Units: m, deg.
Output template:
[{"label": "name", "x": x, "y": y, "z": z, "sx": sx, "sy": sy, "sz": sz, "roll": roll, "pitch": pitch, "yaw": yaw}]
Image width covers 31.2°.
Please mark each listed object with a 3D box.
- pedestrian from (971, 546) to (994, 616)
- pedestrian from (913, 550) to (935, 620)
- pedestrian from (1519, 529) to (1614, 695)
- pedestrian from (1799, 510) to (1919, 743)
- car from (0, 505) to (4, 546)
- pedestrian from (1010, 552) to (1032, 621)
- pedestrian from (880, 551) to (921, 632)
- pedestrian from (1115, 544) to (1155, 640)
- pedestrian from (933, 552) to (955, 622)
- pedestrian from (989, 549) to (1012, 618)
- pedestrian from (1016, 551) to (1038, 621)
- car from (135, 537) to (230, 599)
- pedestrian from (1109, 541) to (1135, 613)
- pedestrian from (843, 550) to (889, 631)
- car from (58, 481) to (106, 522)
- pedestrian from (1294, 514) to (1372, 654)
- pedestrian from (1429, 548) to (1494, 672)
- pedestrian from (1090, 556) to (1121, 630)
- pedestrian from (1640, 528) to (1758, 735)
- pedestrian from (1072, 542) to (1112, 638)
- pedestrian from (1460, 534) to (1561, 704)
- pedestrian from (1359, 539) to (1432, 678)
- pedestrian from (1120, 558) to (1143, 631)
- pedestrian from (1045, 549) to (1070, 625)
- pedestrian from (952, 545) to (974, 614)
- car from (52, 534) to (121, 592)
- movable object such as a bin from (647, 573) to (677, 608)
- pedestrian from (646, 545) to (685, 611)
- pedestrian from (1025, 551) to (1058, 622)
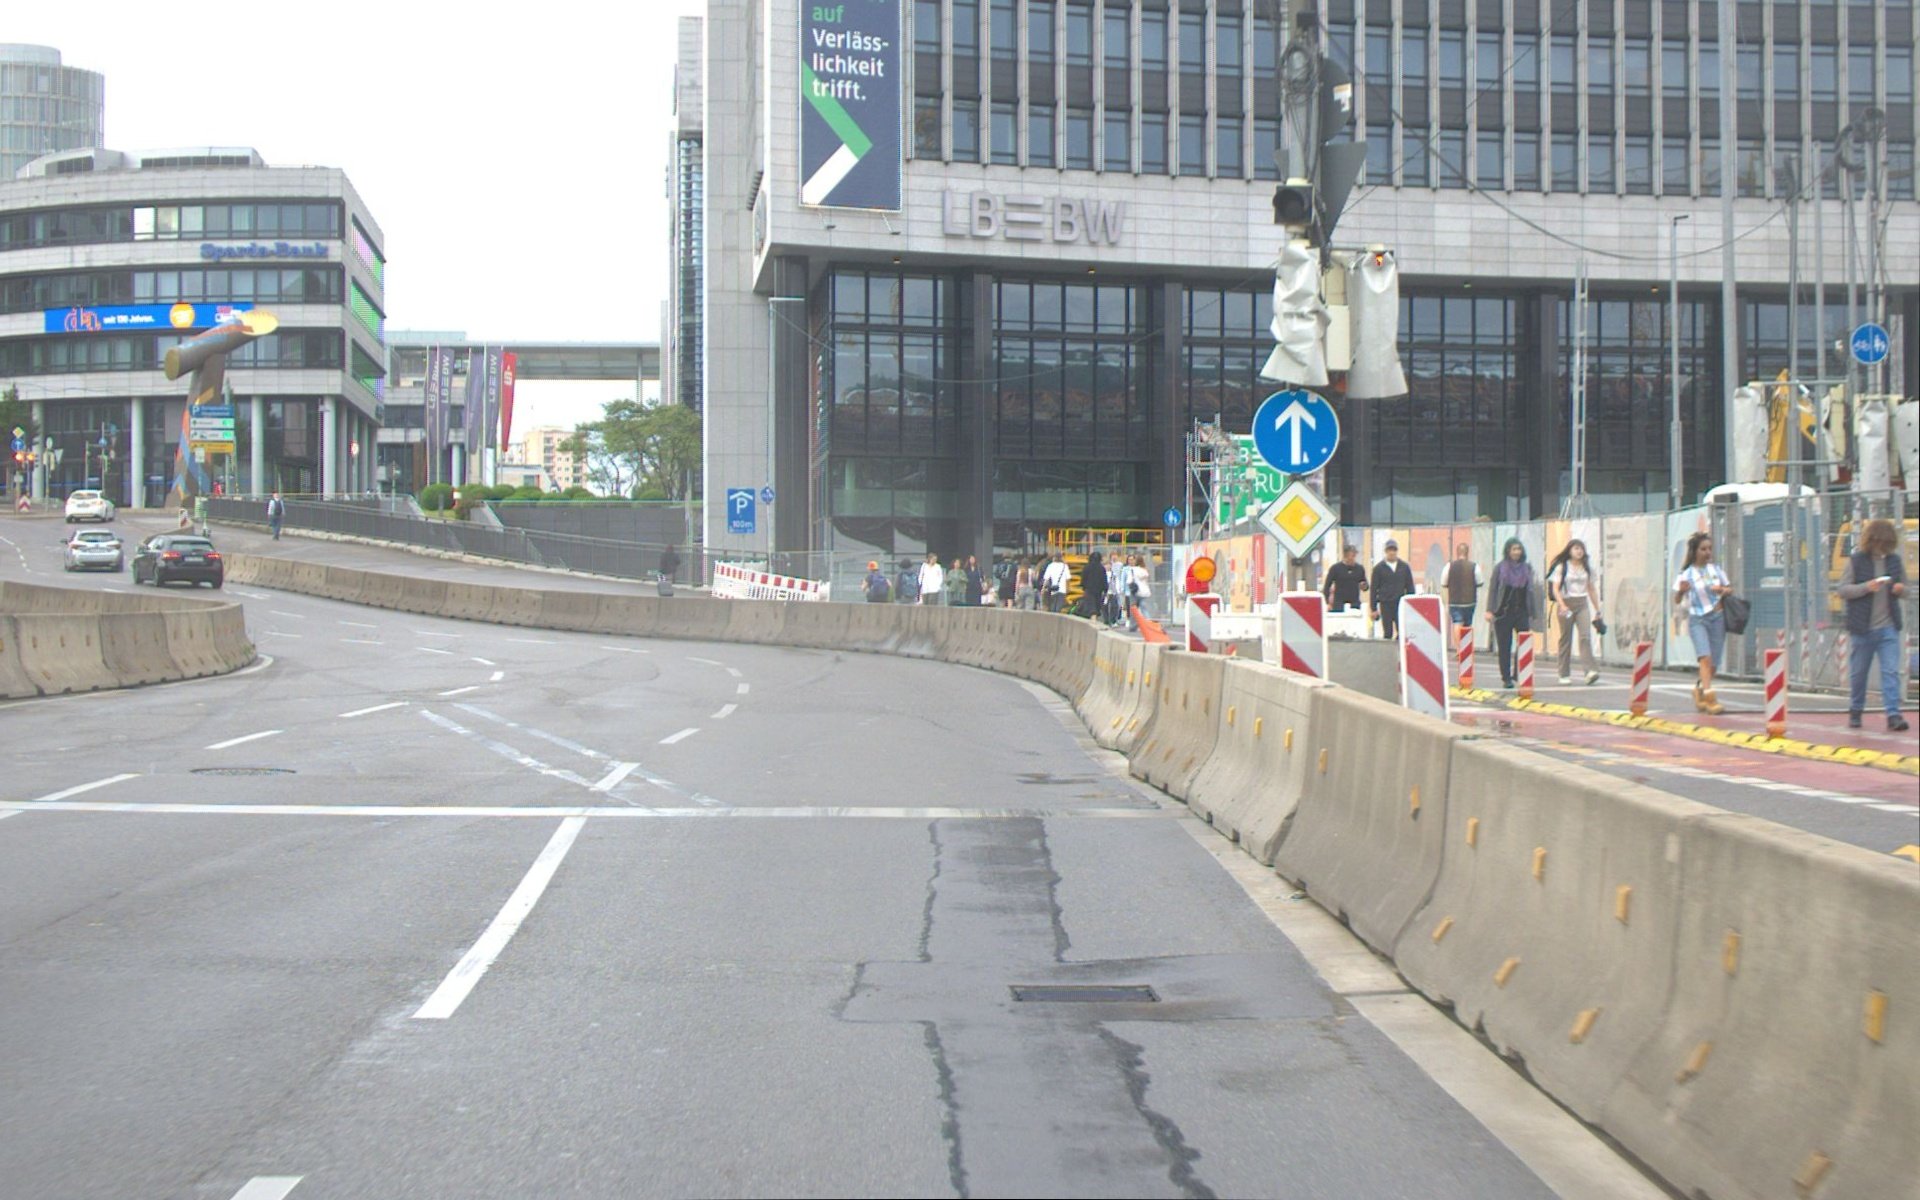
[{"label": "pedestrian", "x": 0.554, "y": -0.475, "z": 84.731, "sx": 0.448, "sy": 1.699, "sz": 0.647, "roll": 1, "pitch": 1, "yaw": -7}, {"label": "pedestrian", "x": -0.891, "y": -0.368, "z": 84.512, "sx": 0.448, "sy": 1.699, "sz": 0.647, "roll": 1, "pitch": 1, "yaw": -7}, {"label": "pedestrian", "x": 6.906, "y": 0.135, "z": 39.176, "sx": 0.779, "sy": 1.855, "sz": 1.058, "roll": 1, "pitch": 0, "yaw": -6}, {"label": "pedestrian", "x": 7.314, "y": 0.210, "z": 27.982, "sx": 0.689, "sy": 1.855, "sz": 0.811, "roll": 1, "pitch": 0, "yaw": -6}, {"label": "car", "x": -36.824, "y": -2.767, "z": 127.750, "sx": 1.741, "sy": 1.501, "sz": 3.754, "roll": 1, "pitch": 0, "yaw": -27}, {"label": "pedestrian", "x": 1.505, "y": -0.341, "z": 84.916, "sx": 0.448, "sy": 1.699, "sz": 0.646, "roll": 1, "pitch": 1, "yaw": 6}, {"label": "pedestrian", "x": -1.214, "y": -0.177, "z": 69.834, "sx": 0.658, "sy": 1.636, "sz": 0.824, "roll": 1, "pitch": 1, "yaw": -14}, {"label": "pedestrian", "x": 3.696, "y": -0.172, "z": 72.607, "sx": 0.784, "sy": 2.007, "sz": 0.863, "roll": 1, "pitch": 1, "yaw": 5}, {"label": "pedestrian", "x": -0.403, "y": -0.327, "z": 84.567, "sx": 0.448, "sy": 1.699, "sz": 0.647, "roll": 1, "pitch": 1, "yaw": -7}, {"label": "pedestrian", "x": 0.999, "y": -0.409, "z": 84.893, "sx": 0.448, "sy": 1.699, "sz": 0.647, "roll": 1, "pitch": 1, "yaw": -8}, {"label": "pedestrian", "x": 1.637, "y": -0.344, "z": 84.227, "sx": 0.448, "sy": 1.699, "sz": 0.646, "roll": 1, "pitch": 1, "yaw": 6}, {"label": "car", "x": -21.142, "y": -0.856, "z": 93.391, "sx": 1.674, "sy": 1.503, "sz": 3.745, "roll": 1, "pitch": -2, "yaw": -26}, {"label": "pedestrian", "x": 3.862, "y": -0.562, "z": 81.921, "sx": 0.500, "sy": 1.699, "sz": 0.733, "roll": 1, "pitch": 1, "yaw": -4}, {"label": "pedestrian", "x": -1.899, "y": -0.193, "z": 69.670, "sx": 0.750, "sy": 1.636, "sz": 0.824, "roll": 1, "pitch": 1, "yaw": -14}, {"label": "car", "x": -39.920, "y": -4.458, "z": 156.310, "sx": 1.993, "sy": 1.798, "sz": 4.267, "roll": 1, "pitch": 1, "yaw": -16}, {"label": "pedestrian", "x": 4.907, "y": -0.214, "z": 45.269, "sx": 0.819, "sy": 1.821, "sz": 1.111, "roll": 0, "pitch": 0, "yaw": -4}, {"label": "pedestrian", "x": 7.592, "y": 0.148, "z": 52.042, "sx": 0.779, "sy": 1.855, "sz": 0.811, "roll": -1, "pitch": 0, "yaw": -6}, {"label": "pedestrian", "x": 3.398, "y": -0.167, "z": 80.198, "sx": 0.625, "sy": 1.699, "sz": 0.647, "roll": 1, "pitch": 1, "yaw": -3}, {"label": "pedestrian", "x": 6.767, "y": 0.279, "z": 31.506, "sx": 0.779, "sy": 1.855, "sz": 0.949, "roll": 1, "pitch": 0, "yaw": -6}, {"label": "pedestrian", "x": 2.785, "y": -0.209, "z": 72.661, "sx": 0.784, "sy": 2.007, "sz": 0.863, "roll": 1, "pitch": 1, "yaw": 5}, {"label": "pedestrian", "x": 6.125, "y": 0.207, "z": 38.297, "sx": 0.869, "sy": 1.855, "sz": 0.949, "roll": 1, "pitch": 0, "yaw": -6}, {"label": "pedestrian", "x": 5.867, "y": 0.110, "z": 46.338, "sx": 0.779, "sy": 1.855, "sz": 0.811, "roll": 1, "pitch": 0, "yaw": -6}, {"label": "pedestrian", "x": 4.009, "y": -0.131, "z": 80.228, "sx": 0.448, "sy": 1.699, "sz": 0.647, "roll": 1, "pitch": 1, "yaw": -3}, {"label": "pedestrian", "x": 2.311, "y": -0.313, "z": 81.741, "sx": 0.529, "sy": 1.812, "sz": 0.536, "roll": 1, "pitch": 1, "yaw": -2}, {"label": "pedestrian", "x": 0.075, "y": -0.504, "z": 84.665, "sx": 0.453, "sy": 1.699, "sz": 0.647, "roll": 1, "pitch": 1, "yaw": -7}, {"label": "car", "x": -28.920, "y": -1.234, "z": 113.787, "sx": 1.738, "sy": 1.869, "sz": 3.778, "roll": 0, "pitch": 0, "yaw": -21}, {"label": "movable object such as a bin", "x": -8.167, "y": -0.256, "z": 94.062, "sx": 0.598, "sy": 0.930, "sz": 0.742, "roll": 1, "pitch": -1, "yaw": -23}, {"label": "pedestrian", "x": -8.108, "y": -0.610, "z": 94.771, "sx": 0.756, "sy": 1.784, "sz": 1.057, "roll": 1, "pitch": 0, "yaw": -23}, {"label": "pedestrian", "x": 1.976, "y": -0.333, "z": 83.137, "sx": 0.511, "sy": 1.699, "sz": 0.574, "roll": 0, "pitch": 1, "yaw": -39}]
